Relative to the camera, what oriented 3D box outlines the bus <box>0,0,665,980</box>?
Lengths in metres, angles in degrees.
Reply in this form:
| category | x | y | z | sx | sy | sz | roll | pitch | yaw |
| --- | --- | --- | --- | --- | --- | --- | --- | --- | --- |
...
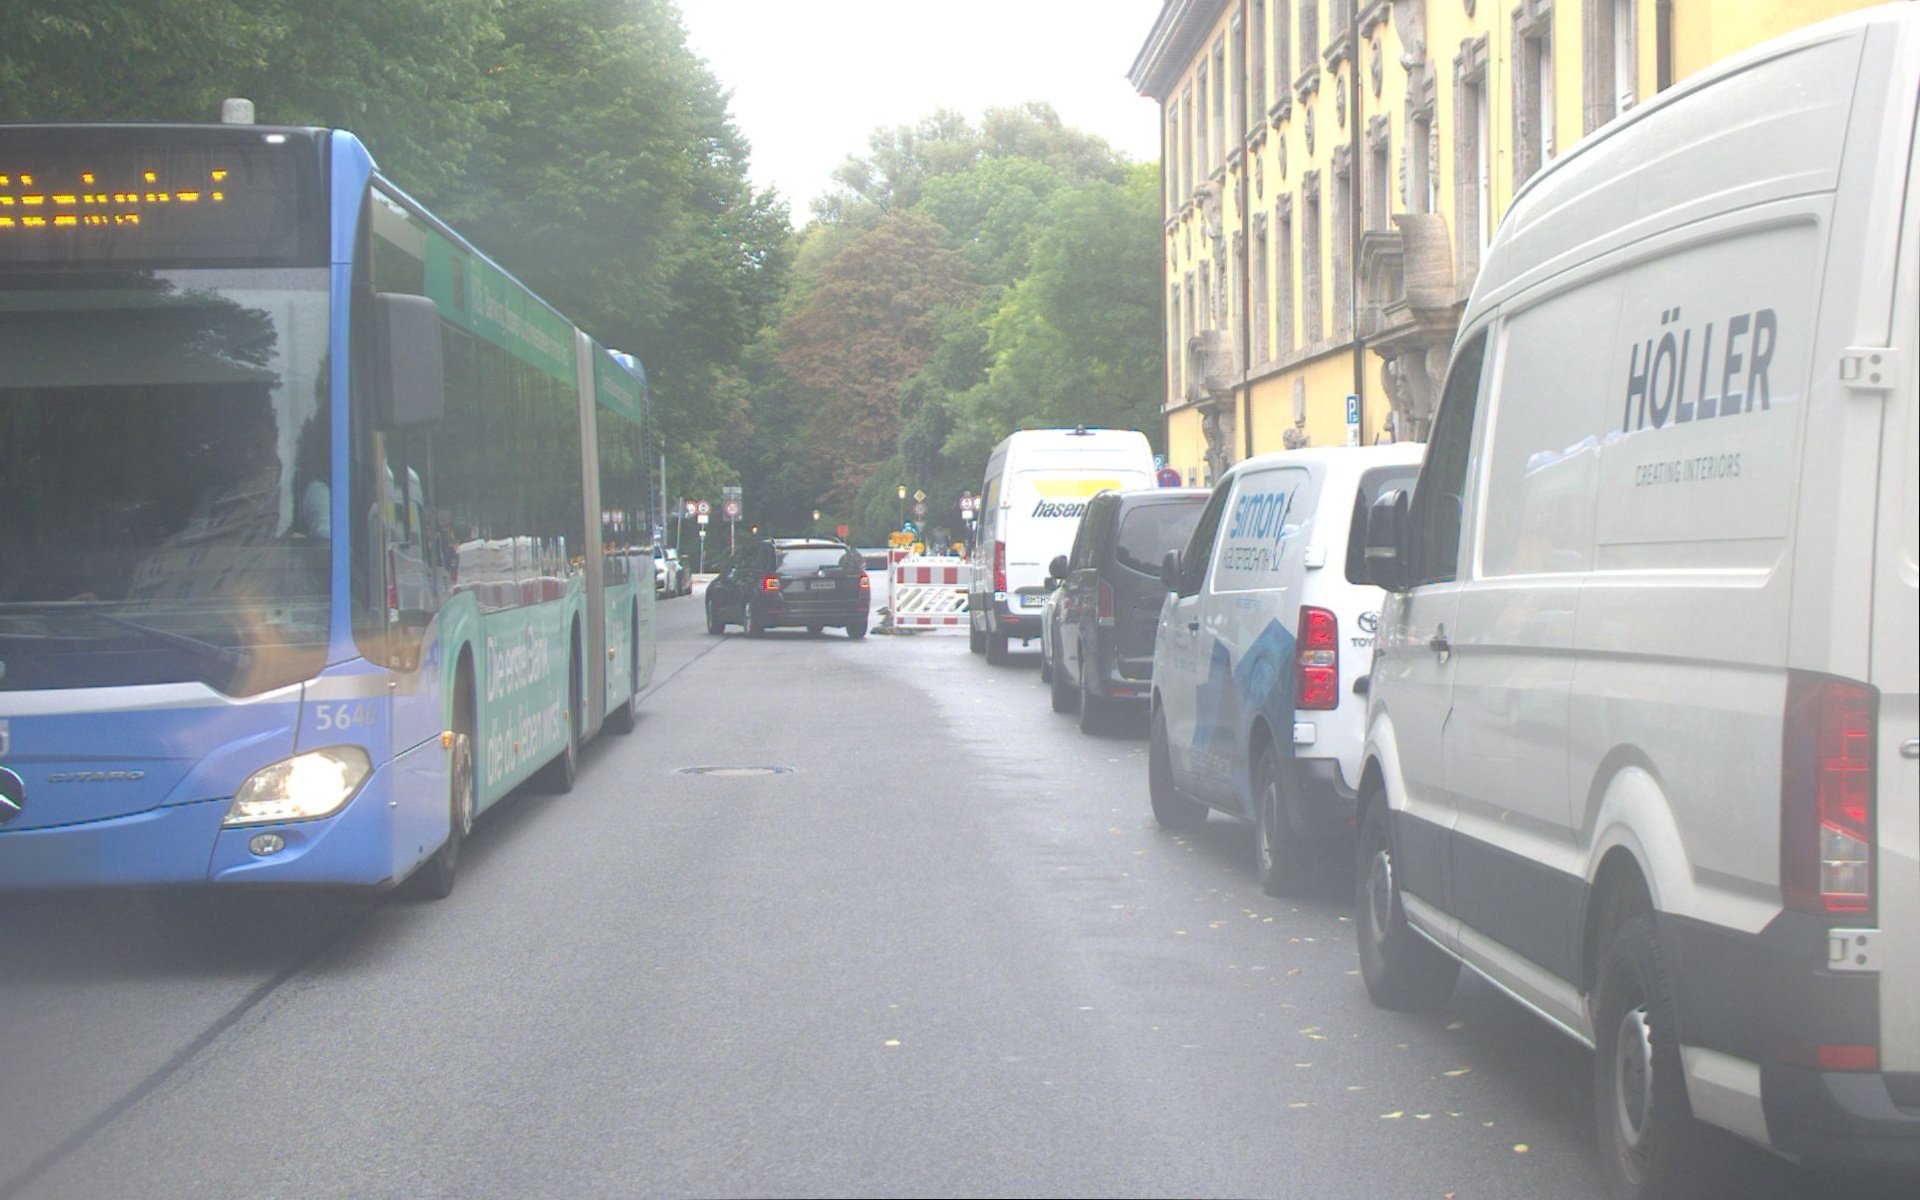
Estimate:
| category | x | y | z | sx | sy | sz | roll | pitch | yaw |
| --- | --- | --- | --- | --- | --- | --- | --- | --- | --- |
| bus | -3.610 | -0.418 | 20.285 | 2.859 | 3.228 | 18.428 | -1 | 0 | -2 |

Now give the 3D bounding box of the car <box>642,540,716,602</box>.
| category | x | y | z | sx | sy | sz | roll | pitch | yaw |
| --- | --- | --- | --- | --- | --- | --- | --- | --- | --- |
| car | -7.028 | -0.737 | 86.169 | 1.577 | 1.492 | 4.199 | -1 | 1 | -1 |

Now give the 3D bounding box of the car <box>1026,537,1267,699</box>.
| category | x | y | z | sx | sy | sz | roll | pitch | yaw |
| --- | --- | --- | --- | --- | --- | --- | --- | --- | --- |
| car | 1.740 | 0.135 | 33.368 | 1.870 | 1.453 | 4.256 | -1 | 1 | -3 |

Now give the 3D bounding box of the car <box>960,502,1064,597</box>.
| category | x | y | z | sx | sy | sz | roll | pitch | yaw |
| --- | --- | --- | --- | --- | --- | --- | --- | --- | --- |
| car | 0.969 | -0.948 | 66.159 | 1.739 | 1.744 | 4.356 | -1 | 0 | -2 |

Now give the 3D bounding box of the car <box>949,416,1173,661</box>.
| category | x | y | z | sx | sy | sz | roll | pitch | yaw |
| --- | --- | --- | --- | --- | --- | --- | --- | --- | --- |
| car | 1.098 | -0.725 | 41.502 | 2.054 | 2.664 | 7.615 | -1 | 1 | -3 |

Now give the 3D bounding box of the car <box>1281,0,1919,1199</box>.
| category | x | y | z | sx | sy | sz | roll | pitch | yaw |
| --- | --- | --- | --- | --- | --- | --- | --- | --- | --- |
| car | 2.284 | 0.085 | 8.803 | 2.095 | 2.479 | 5.740 | -1 | 0 | -3 |

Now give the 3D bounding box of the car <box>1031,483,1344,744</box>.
| category | x | y | z | sx | sy | sz | roll | pitch | yaw |
| --- | --- | --- | --- | --- | --- | --- | --- | --- | --- |
| car | 1.692 | 0.064 | 27.242 | 1.870 | 1.862 | 4.987 | -1 | 1 | -3 |

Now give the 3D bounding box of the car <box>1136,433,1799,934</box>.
| category | x | y | z | sx | sy | sz | roll | pitch | yaw |
| --- | --- | --- | --- | --- | --- | --- | --- | --- | --- |
| car | 2.078 | 0.279 | 15.738 | 2.013 | 1.900 | 5.164 | 1 | 1 | -3 |

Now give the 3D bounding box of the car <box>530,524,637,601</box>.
| category | x | y | z | sx | sy | sz | roll | pitch | yaw |
| --- | --- | --- | --- | --- | --- | --- | --- | --- | --- |
| car | -7.231 | -0.740 | 66.305 | 1.727 | 1.418 | 4.252 | -1 | 1 | -2 |

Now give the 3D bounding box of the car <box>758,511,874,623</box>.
| category | x | y | z | sx | sy | sz | roll | pitch | yaw |
| --- | --- | --- | --- | --- | --- | --- | --- | --- | --- |
| car | -2.098 | -0.497 | 50.758 | 1.577 | 1.578 | 4.044 | -1 | 1 | -1 |
